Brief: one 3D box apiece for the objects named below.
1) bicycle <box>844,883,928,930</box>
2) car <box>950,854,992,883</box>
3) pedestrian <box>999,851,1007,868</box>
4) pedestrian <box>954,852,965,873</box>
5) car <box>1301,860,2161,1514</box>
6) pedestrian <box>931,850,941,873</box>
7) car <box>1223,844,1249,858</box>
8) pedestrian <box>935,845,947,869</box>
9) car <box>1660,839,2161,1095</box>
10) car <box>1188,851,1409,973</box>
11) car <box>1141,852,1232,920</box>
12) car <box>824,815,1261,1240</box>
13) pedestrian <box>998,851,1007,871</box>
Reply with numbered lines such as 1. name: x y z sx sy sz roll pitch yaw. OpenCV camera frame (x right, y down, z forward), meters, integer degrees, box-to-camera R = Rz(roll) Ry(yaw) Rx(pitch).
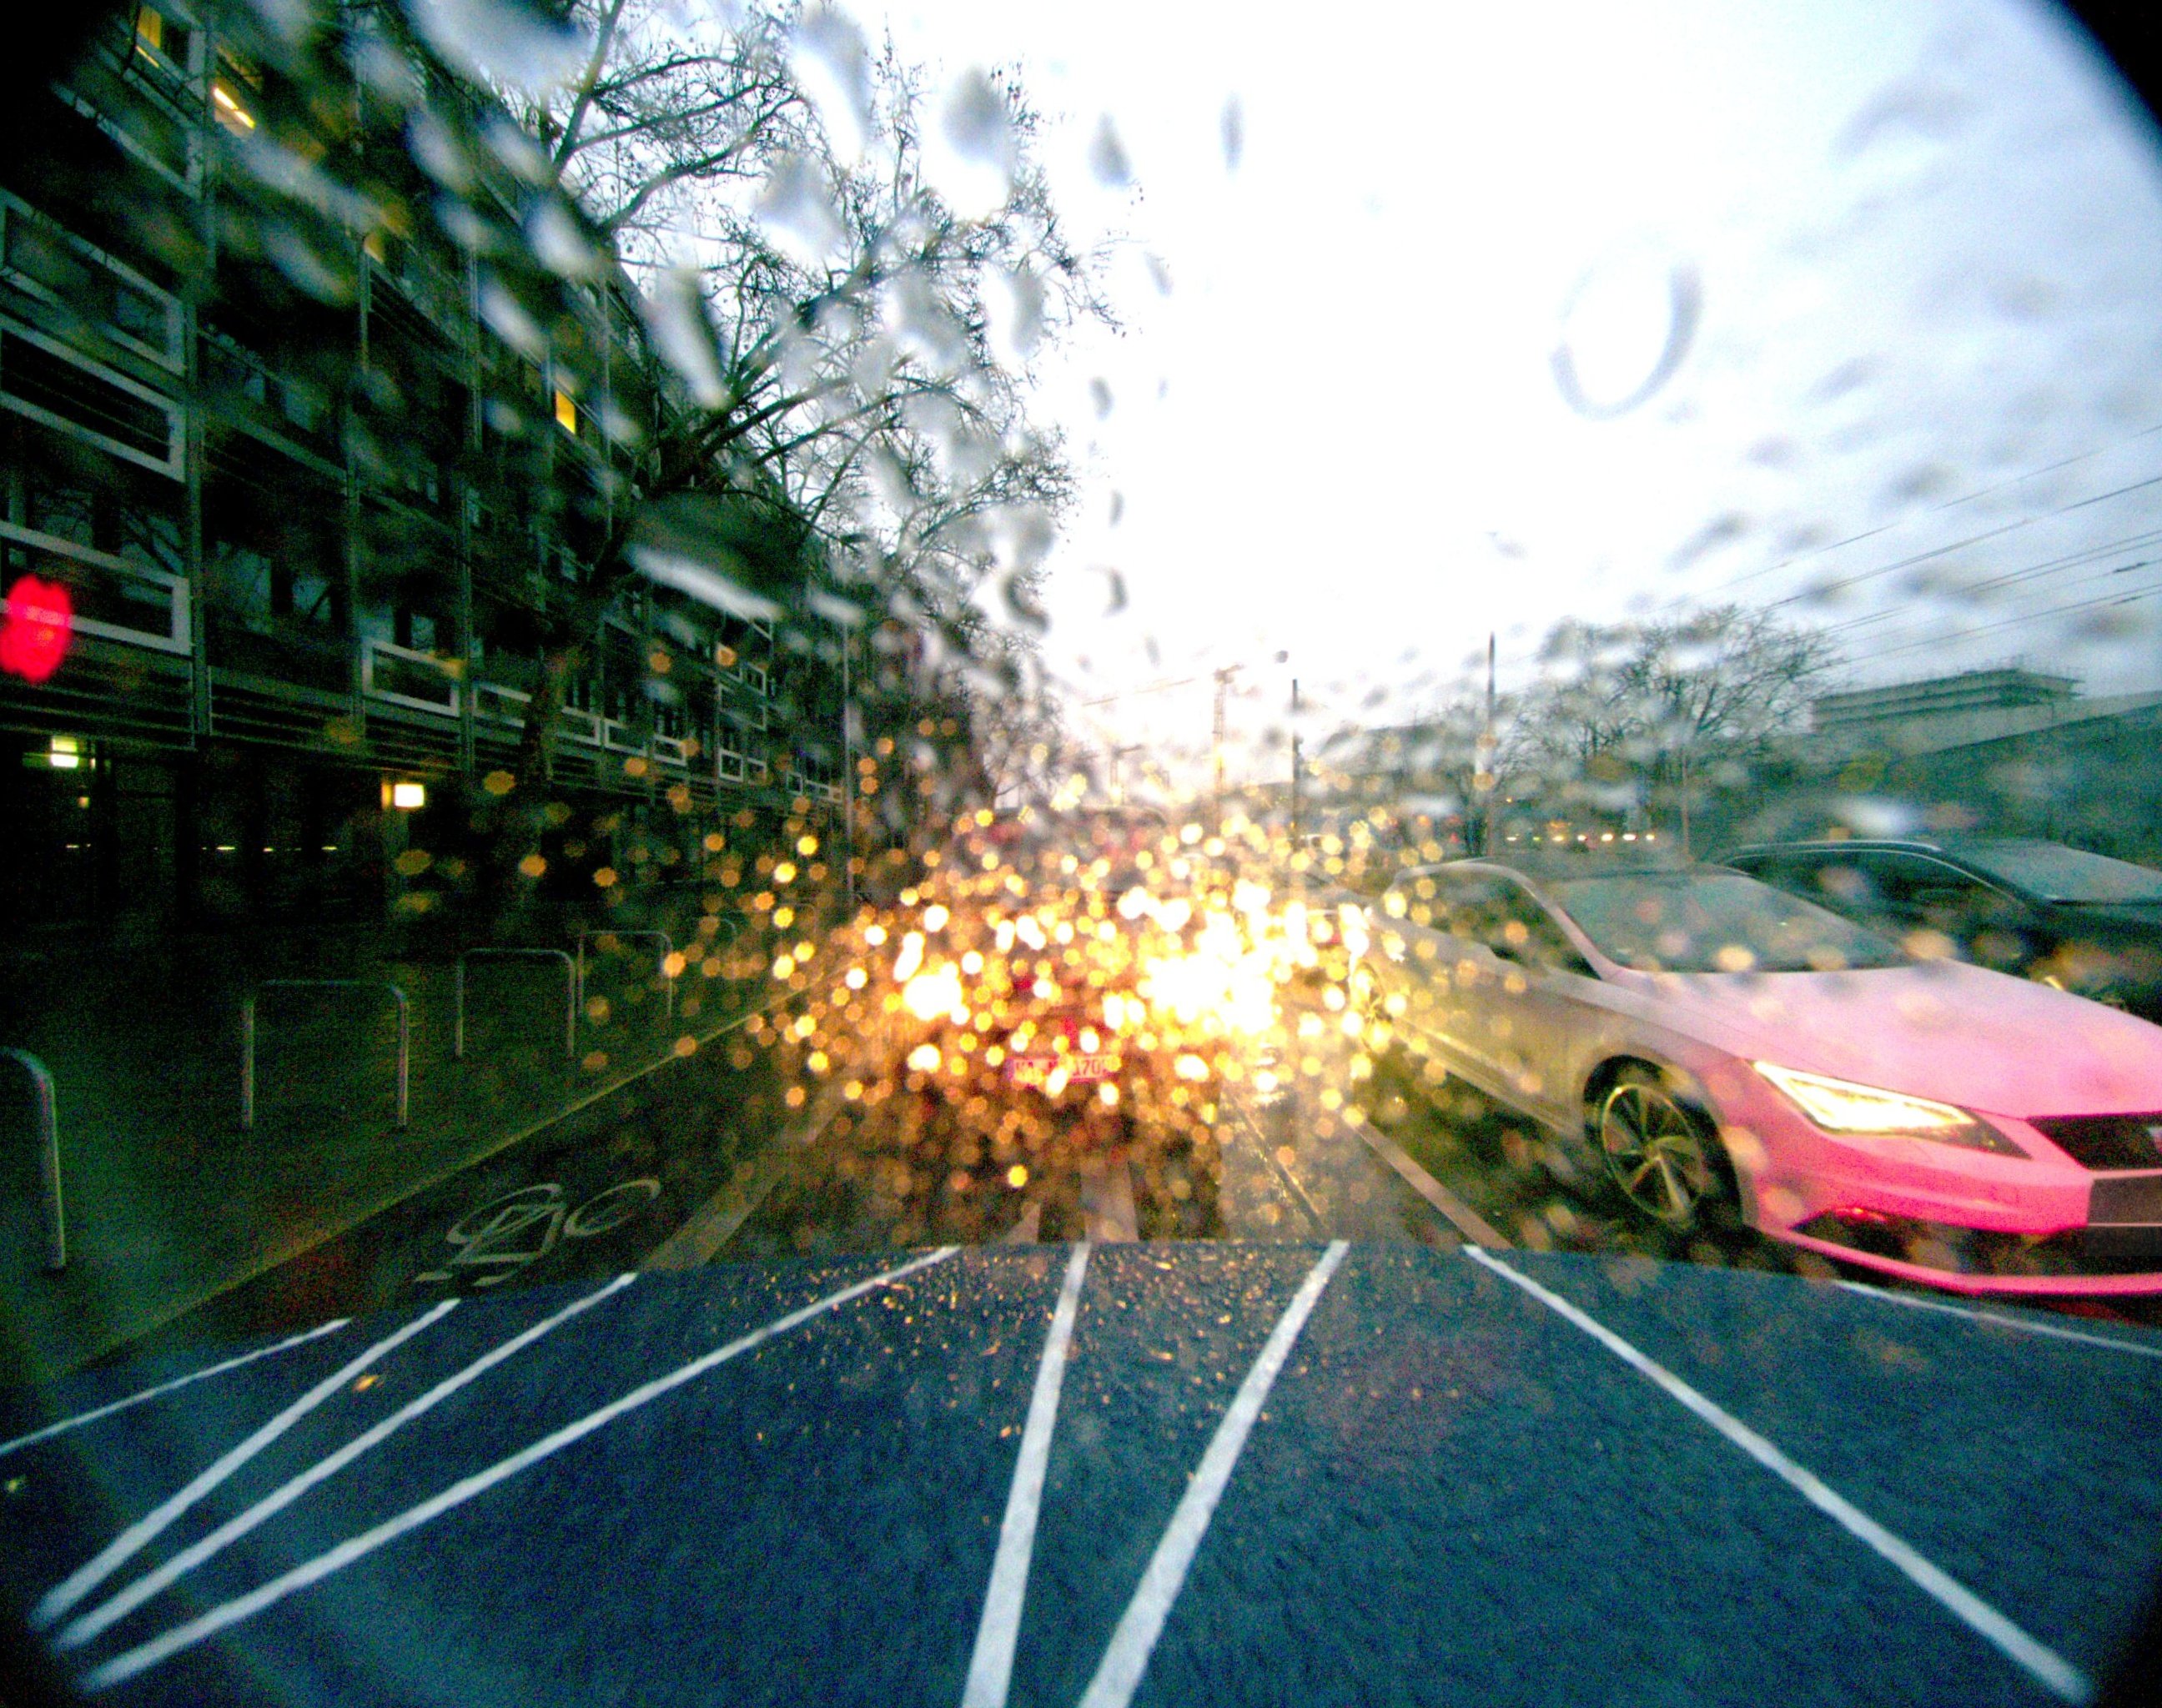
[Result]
1. bicycle: -4.496 1.207 17.617 1.704 0.987 0.879 1 1 0
2. car: -6.215 0.789 43.387 1.713 1.455 3.999 -2 1 1
3. pedestrian: -8.184 0.598 79.387 0.766 1.740 0.928 0 1 -4
4. pedestrian: -10.038 0.700 62.761 0.766 1.740 0.928 0 1 -4
5. car: 2.984 0.840 4.174 1.949 1.478 4.504 -2 0 -4
6. pedestrian: -12.530 0.605 65.595 0.699 1.968 0.928 0 1 1
7. car: 20.249 -0.399 99.525 2.095 1.884 3.997 -1 1 -7
8. pedestrian: -13.293 0.293 72.233 1.062 2.182 1.110 -2 1 -11
9. car: 7.353 0.651 6.067 1.853 1.499 4.662 -1 1 -1
10. car: 3.002 0.701 11.599 1.999 1.478 4.504 -1 0 -1
11. car: 2.754 0.780 20.712 1.907 1.565 3.999 -2 1 1
12. car: -0.177 0.757 5.389 1.878 1.830 3.999 -2 1 0
13. pedestrian: -7.047 0.607 68.355 0.766 1.740 0.928 0 1 -4
